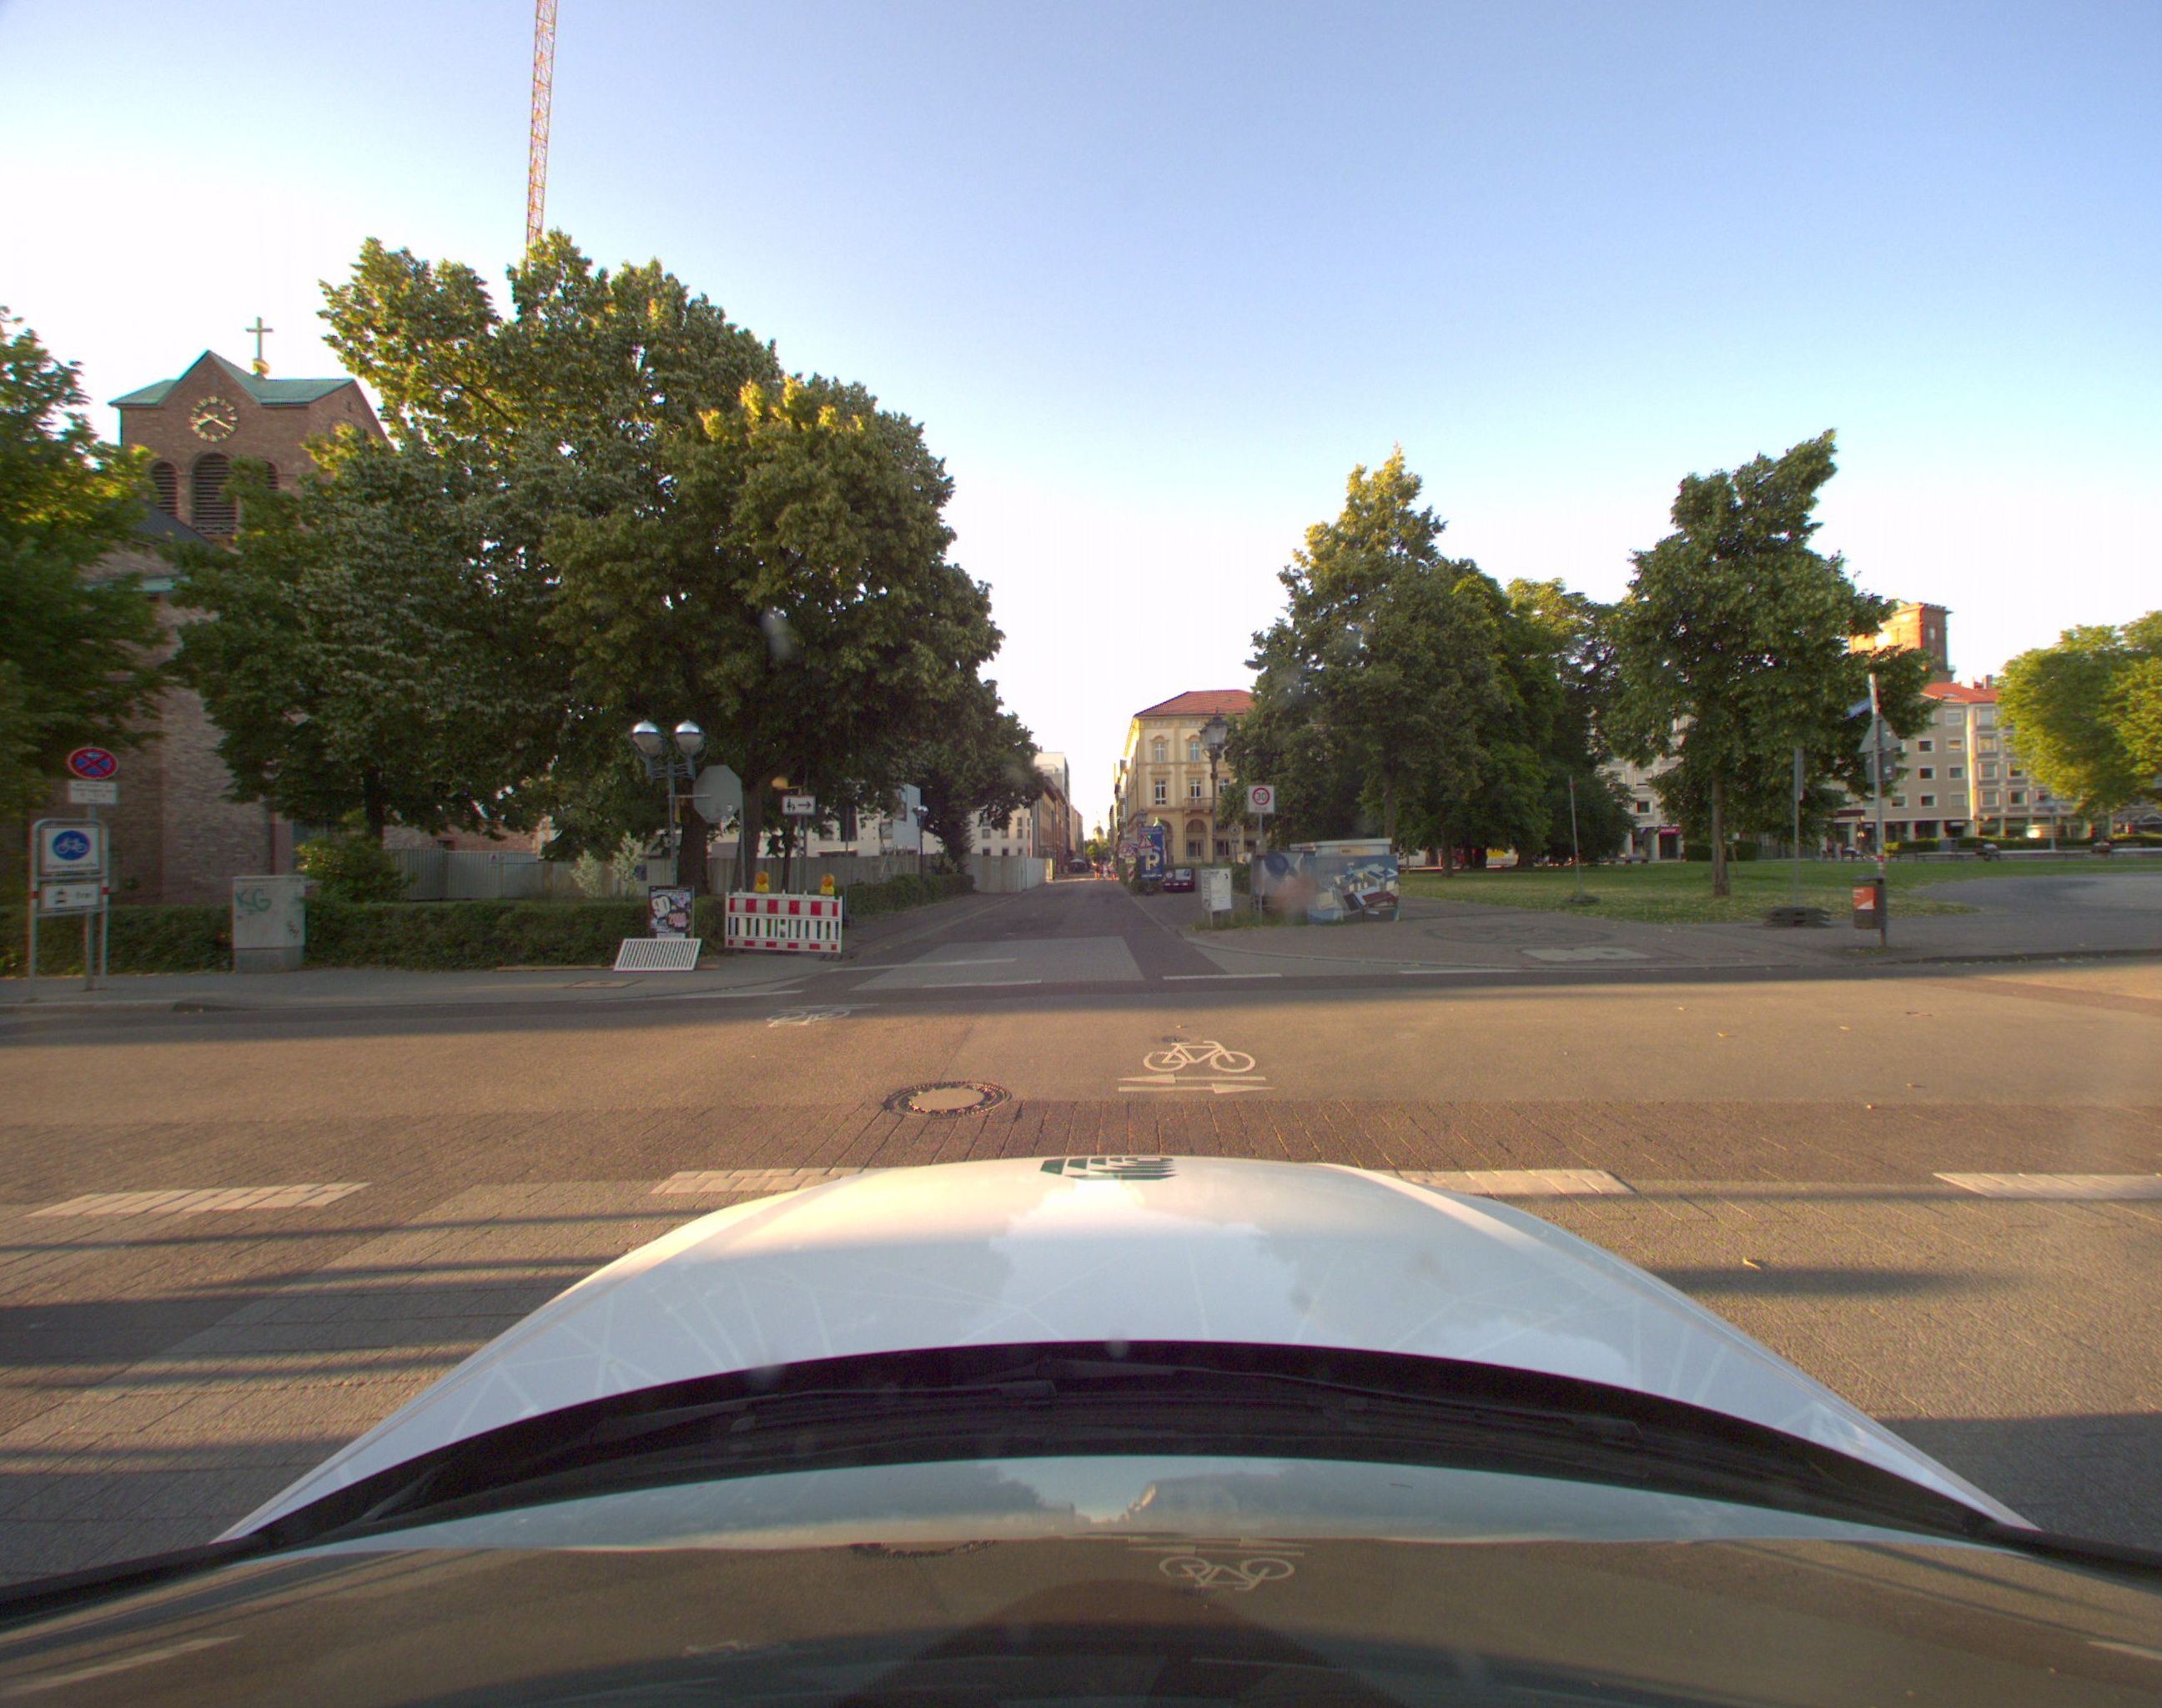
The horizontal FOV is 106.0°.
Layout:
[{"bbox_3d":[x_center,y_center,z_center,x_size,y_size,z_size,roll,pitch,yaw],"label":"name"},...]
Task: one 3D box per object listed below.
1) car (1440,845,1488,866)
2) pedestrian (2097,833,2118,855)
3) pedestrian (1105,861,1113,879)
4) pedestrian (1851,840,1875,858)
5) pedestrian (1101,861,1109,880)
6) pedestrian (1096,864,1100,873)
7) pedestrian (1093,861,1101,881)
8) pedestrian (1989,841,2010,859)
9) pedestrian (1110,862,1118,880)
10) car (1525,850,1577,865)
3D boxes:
[{"bbox_3d":[39.833,0.121,84.858,4.016,2.014,2.001,-2,-1,2],"label":"car"},{"bbox_3d":[52.055,-0.511,41.306,0.514,1.077,0.614,-1,-1,-39],"label":"pedestrian"},{"bbox_3d":[2.528,1.417,72.961,0.655,1.636,0.745,-2,-1,1],"label":"pedestrian"},{"bbox_3d":[50.092,-0.309,52.184,0.889,1.077,0.624,-3,-1,18],"label":"pedestrian"},{"bbox_3d":[2.127,1.467,71.780,0.655,1.617,0.745,-2,-1,1],"label":"pedestrian"},{"bbox_3d":[3.604,2.998,171.632,0.739,1.834,0.762,-2,-1,4],"label":"pedestrian"},{"bbox_3d":[1.436,1.486,72.946,0.655,1.760,0.745,-2,-1,1],"label":"pedestrian"},{"bbox_3d":[50.384,-0.214,44.660,0.512,0.925,0.616,-2,-1,-24],"label":"pedestrian"},{"bbox_3d":[2.900,1.484,71.761,0.655,1.617,0.745,-2,-1,1],"label":"pedestrian"},{"bbox_3d":[42.221,0.334,73.189,3.568,1.240,1.996,-2,-1,-6],"label":"car"}]
